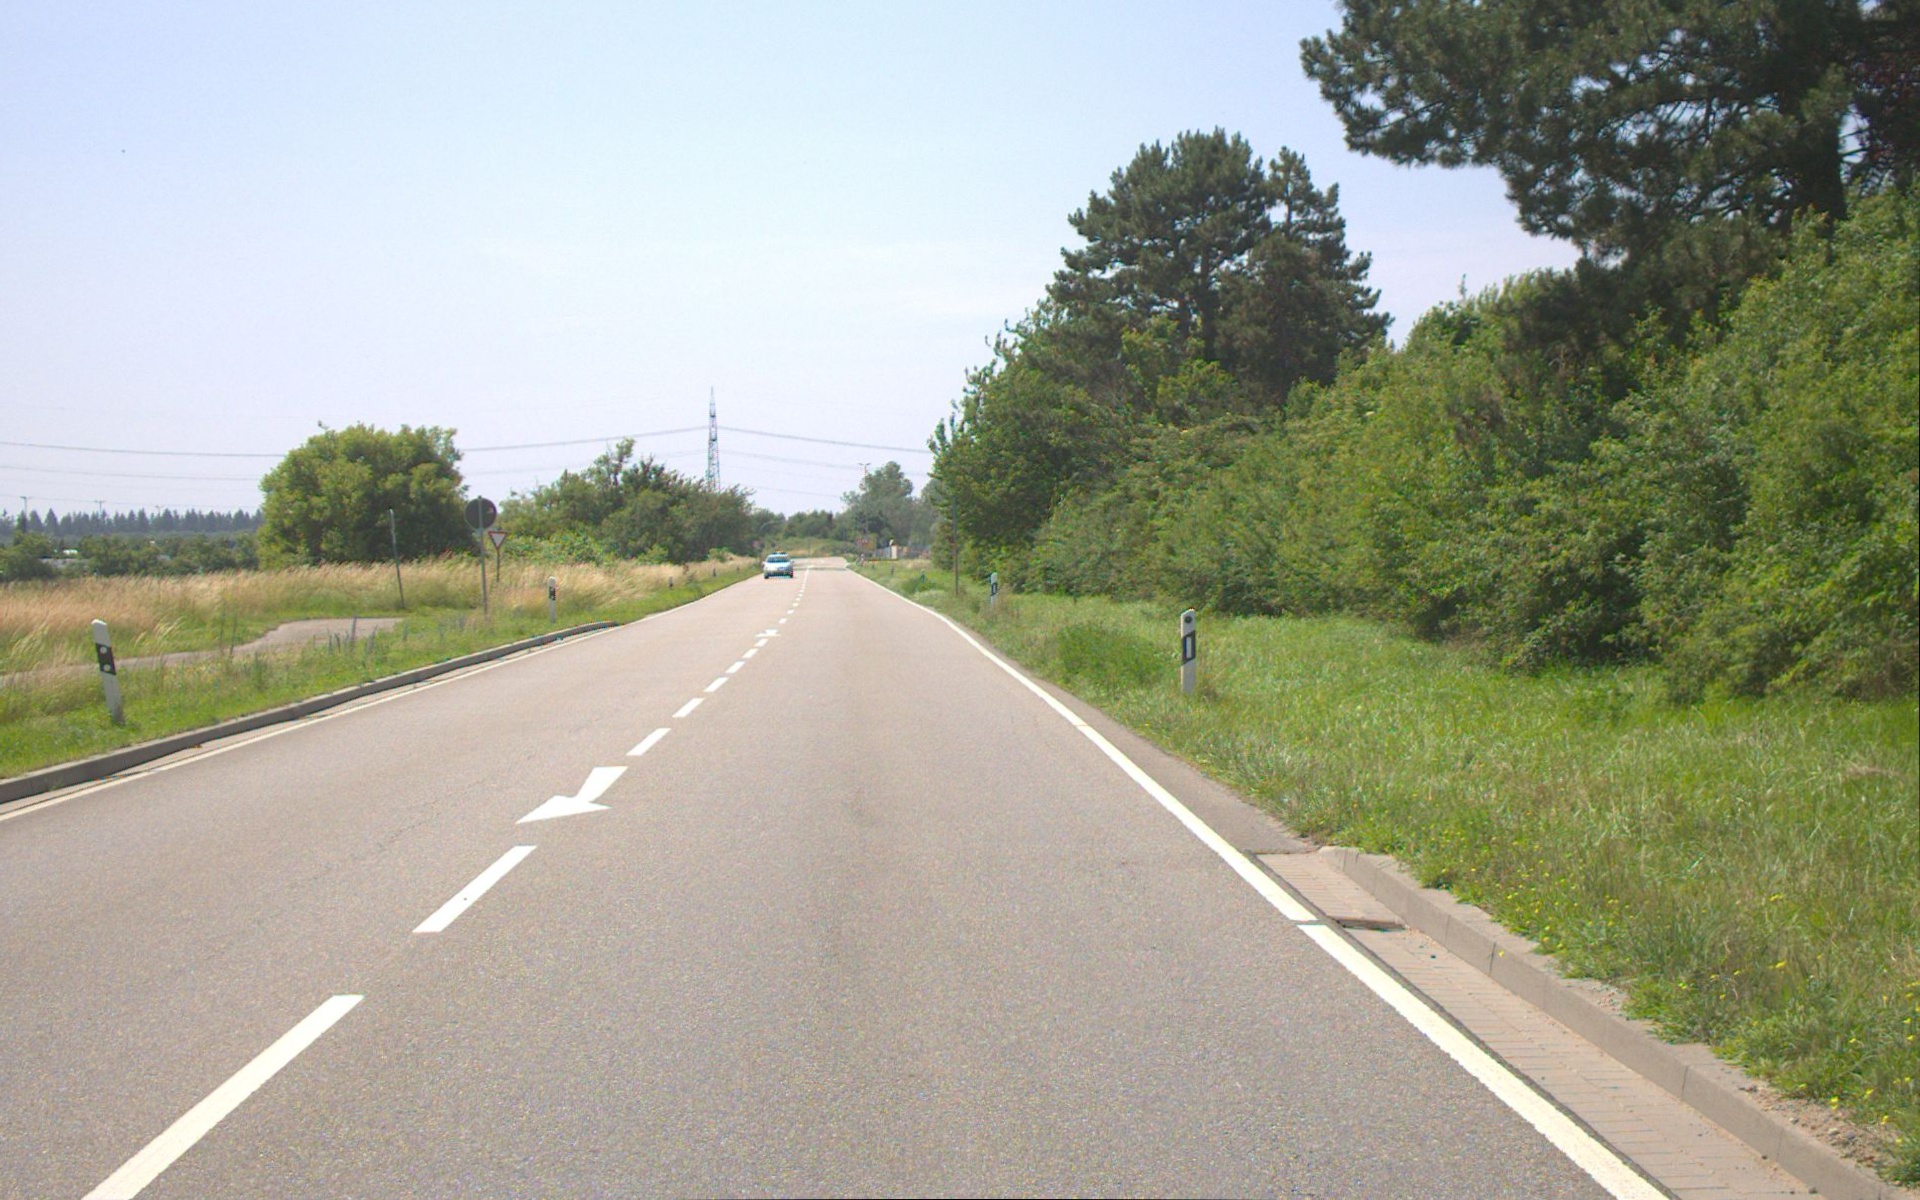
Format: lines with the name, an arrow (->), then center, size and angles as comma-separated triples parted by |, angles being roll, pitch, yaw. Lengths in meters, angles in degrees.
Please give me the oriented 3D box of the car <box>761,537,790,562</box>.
car -> -11.280, -3.129, 210.666 | 1.678, 1.416, 4.423 | -3, 1, -3
